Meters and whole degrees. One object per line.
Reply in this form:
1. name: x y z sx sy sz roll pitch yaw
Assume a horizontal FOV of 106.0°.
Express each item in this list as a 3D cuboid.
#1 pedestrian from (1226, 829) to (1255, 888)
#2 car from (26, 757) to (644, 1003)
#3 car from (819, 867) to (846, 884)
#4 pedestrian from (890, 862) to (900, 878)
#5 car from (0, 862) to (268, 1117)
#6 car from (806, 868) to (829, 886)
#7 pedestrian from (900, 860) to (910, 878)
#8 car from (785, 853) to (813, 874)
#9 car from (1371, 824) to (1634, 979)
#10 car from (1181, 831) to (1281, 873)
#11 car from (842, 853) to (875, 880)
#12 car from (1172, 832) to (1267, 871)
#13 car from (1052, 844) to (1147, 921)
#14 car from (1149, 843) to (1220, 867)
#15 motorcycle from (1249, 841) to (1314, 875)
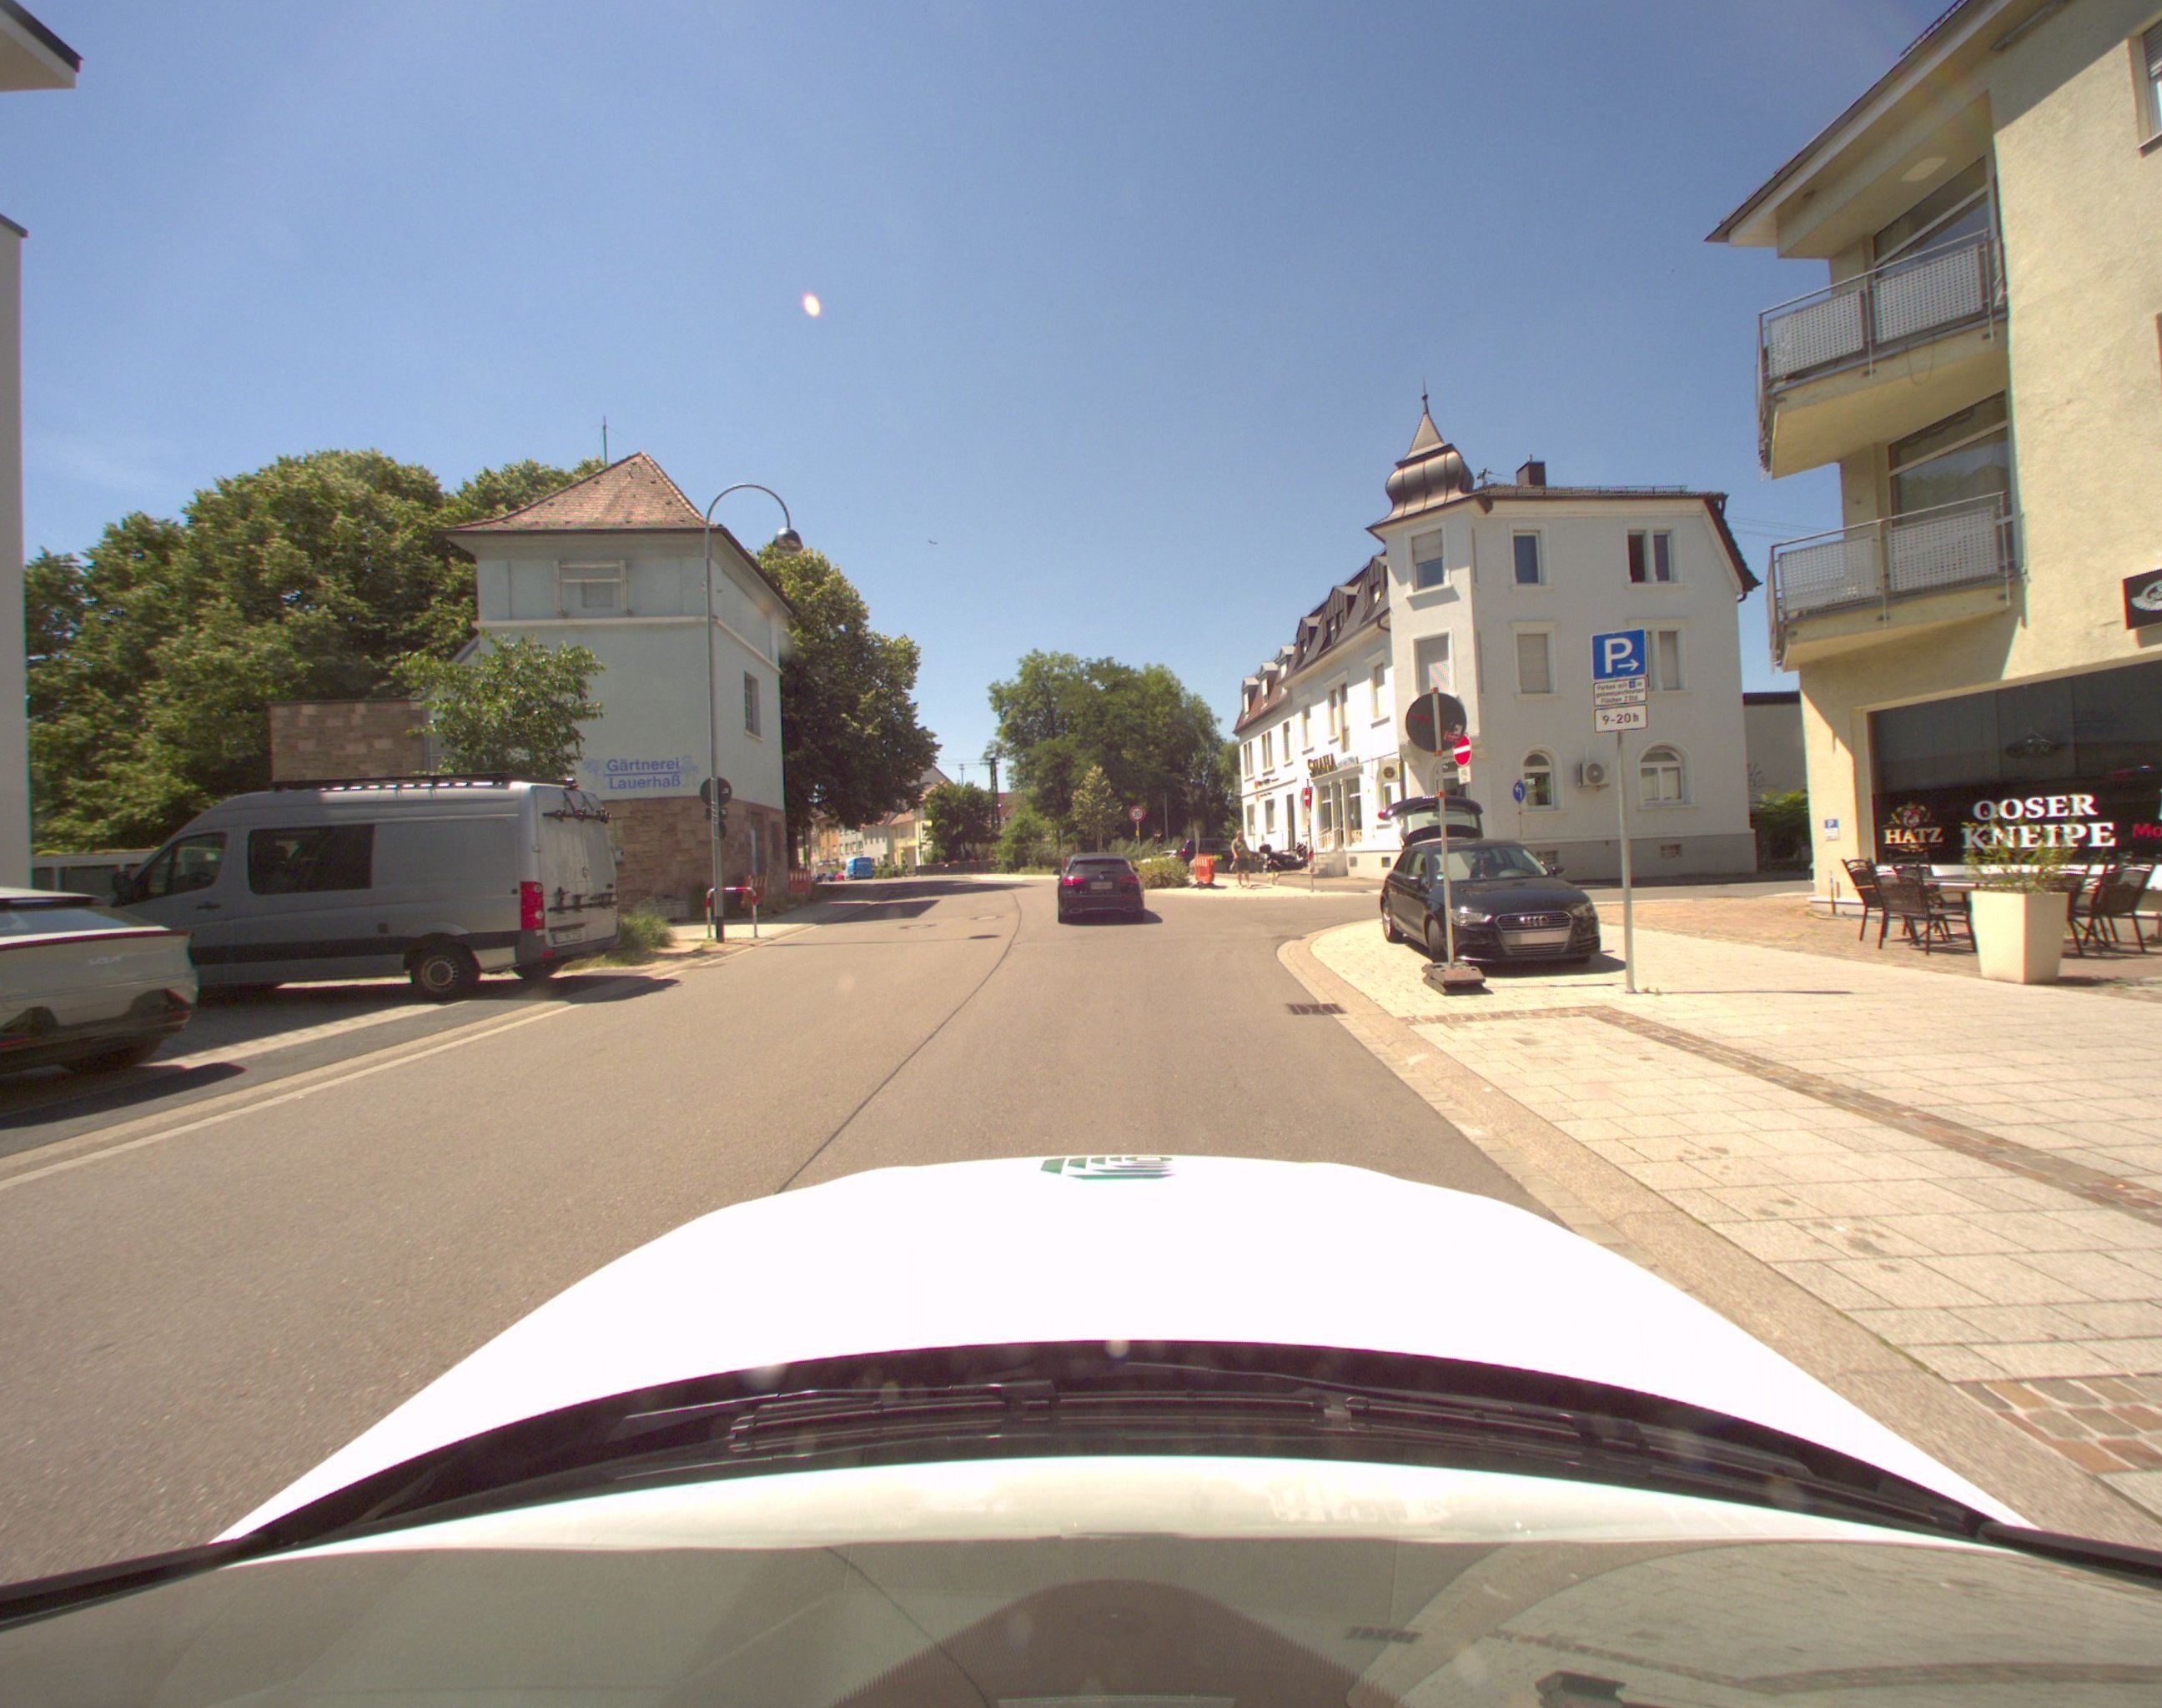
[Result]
1. pedestrian: 5.023 0.133 25.658 0.742 1.796 0.845 -3 1 4
2. car: -9.227 0.292 10.604 5.753 2.732 2.289 -1 -1 -3
3. car: -28.067 2.442 91.854 2.006 1.746 4.287 -2 -3 -29
4. pedestrian: -18.207 1.568 79.807 0.618 1.612 0.829 -2 -1 -33
5. car: -9.022 0.902 5.716 4.444 1.591 1.997 -1 -1 -4
6. car: -32.119 2.765 99.215 2.006 2.013 3.962 -2 0 -29
7. pedestrian: -17.101 1.473 79.189 0.693 1.741 0.666 -4 -1 44
8. car: -32.503 1.110 93.819 2.258 2.343 4.807 -1 0 -29
9. car: 4.992 0.457 10.288 1.860 1.491 3.874 -4 1 11
10. car: 6.677 -0.077 36.445 4.068 1.716 1.853 -1 -1 -5
11. car: -22.435 1.290 81.964 2.145 2.541 4.606 -2 -1 -28
12. car: 6.486 -0.085 38.413 4.068 1.716 1.853 -1 -1 -5
13. car: 0.412 0.632 18.106 1.821 1.442 4.000 -3 -2 1
14. car: 6.315 0.038 49.424 4.224 1.349 1.839 0 3 -40
15. motorcycle: 8.122 0.154 33.057 2.372 1.275 0.855 -2 0 -4
